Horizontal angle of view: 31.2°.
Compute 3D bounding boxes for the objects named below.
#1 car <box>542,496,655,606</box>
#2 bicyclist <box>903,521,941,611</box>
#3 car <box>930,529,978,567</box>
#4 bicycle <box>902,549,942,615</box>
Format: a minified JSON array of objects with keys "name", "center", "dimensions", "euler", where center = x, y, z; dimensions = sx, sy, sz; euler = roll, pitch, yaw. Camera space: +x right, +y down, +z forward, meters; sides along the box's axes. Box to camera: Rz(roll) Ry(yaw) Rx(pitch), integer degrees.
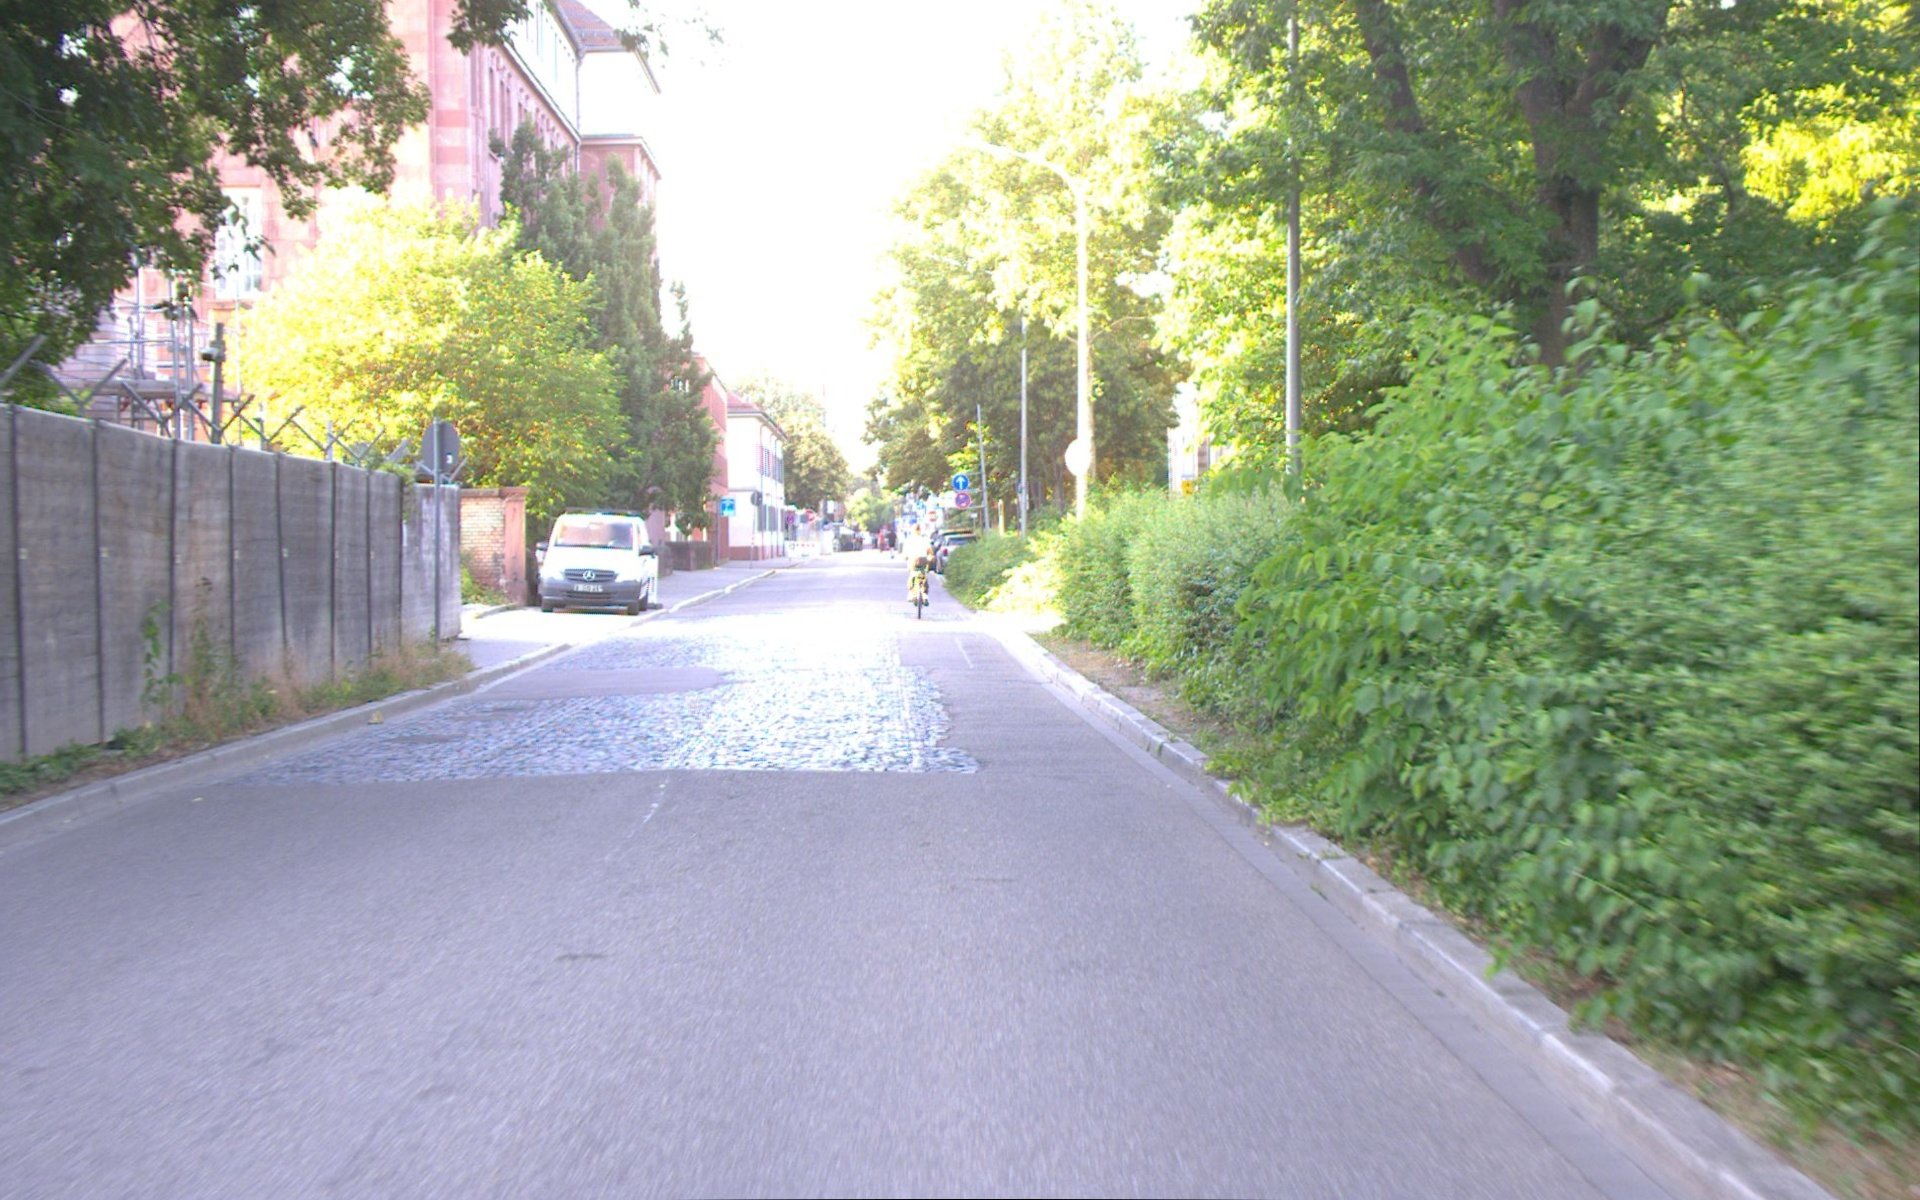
[{"name":"car","center":[-6.962,-0.916,66.658],"dimensions":[1.882,2.007,5.226],"euler":[1,0,-3]},{"name":"bicyclist","center":[-0.708,-0.630,64.191],"dimensions":[0.639,1.661,0.843],"euler":[1,1,-3]},{"name":"car","center":[-0.257,-2.122,140.203],"dimensions":[1.715,1.532,4.049],"euler":[-1,1,-3]},{"name":"bicycle","center":[-0.712,-0.345,64.163],"dimensions":[0.638,1.189,1.876],"euler":[1,1,-3]}]
